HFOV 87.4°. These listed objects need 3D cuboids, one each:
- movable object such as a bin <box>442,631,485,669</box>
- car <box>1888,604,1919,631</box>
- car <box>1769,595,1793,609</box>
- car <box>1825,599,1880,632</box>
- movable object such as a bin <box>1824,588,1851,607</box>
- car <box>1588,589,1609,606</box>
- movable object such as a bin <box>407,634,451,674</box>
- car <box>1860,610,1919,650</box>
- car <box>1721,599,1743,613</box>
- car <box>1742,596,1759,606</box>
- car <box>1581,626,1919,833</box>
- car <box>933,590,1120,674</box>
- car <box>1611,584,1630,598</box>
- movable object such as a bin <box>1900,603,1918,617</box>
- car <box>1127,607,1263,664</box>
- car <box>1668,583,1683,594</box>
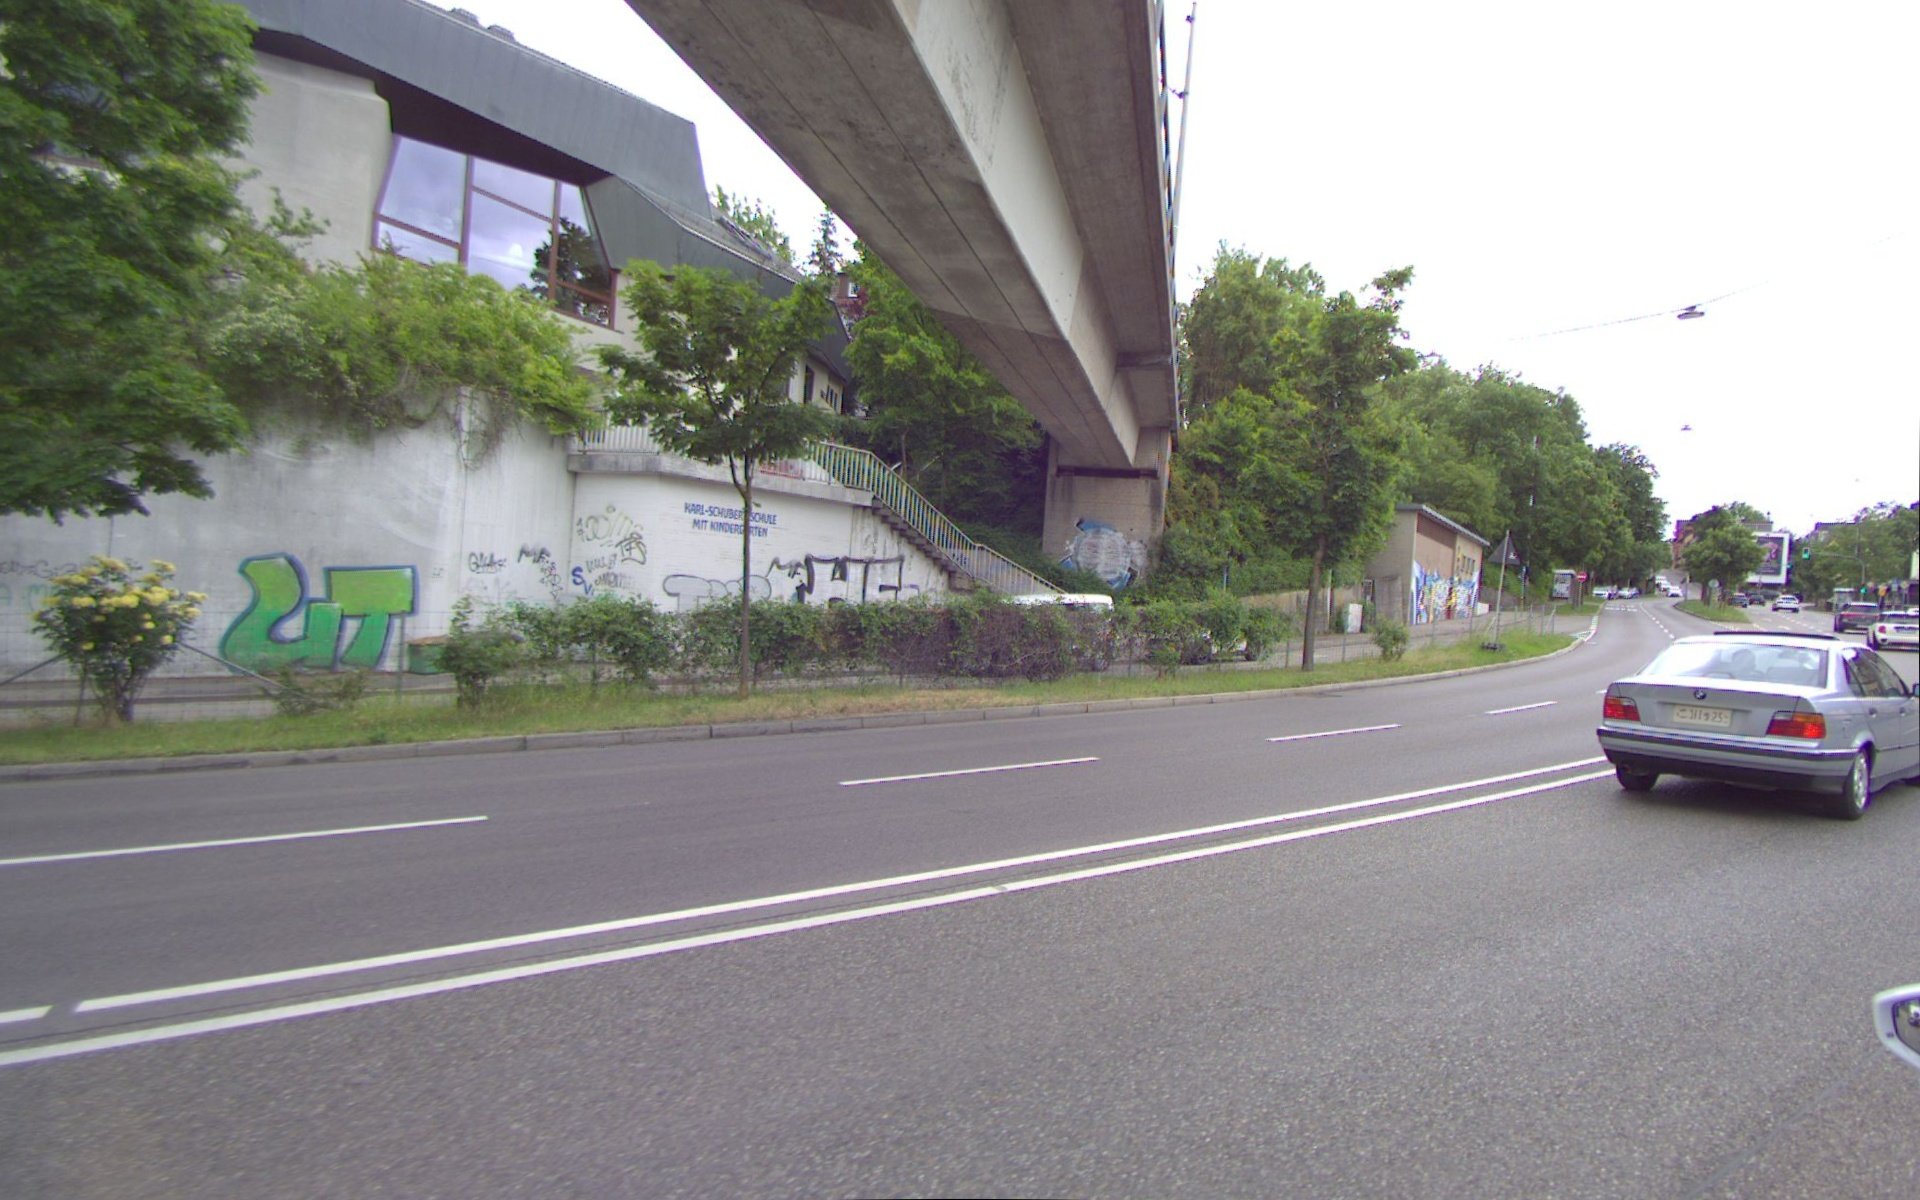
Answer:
[{"bbox_3d":[-9.557,0.954,19.319,0.551,0.649,0.578,6,6,40],"label":"movable object such as a bin"},{"bbox_3d":[51.943,0.945,54.460,1.698,1.394,3.449,1,1,31],"label":"car"},{"bbox_3d":[83.917,0.169,102.682,1.700,1.394,3.444,1,1,36],"label":"car"},{"bbox_3d":[47.382,0.781,53.404,1.699,1.662,3.446,1,1,34],"label":"car"},{"bbox_3d":[99.790,-0.294,114.275,1.863,1.895,1.526,6,5,28],"label":"movable object such as a bin"},{"bbox_3d":[74.013,-0.293,116.406,1.835,1.693,4.265,6,5,34],"label":"car"},{"bbox_3d":[-9.943,1.001,18.814,0.551,0.649,0.578,6,6,40],"label":"movable object such as a bin"},{"bbox_3d":[34.679,1.082,37.230,1.701,1.394,3.442,1,1,38],"label":"car"},{"bbox_3d":[87.633,0.656,114.062,1.699,1.604,3.446,1,1,34],"label":"car"},{"bbox_3d":[109.852,0.164,139.647,1.700,1.394,3.444,1,1,36],"label":"car"},{"bbox_3d":[7.426,0.964,9.009,4.577,1.401,1.623,1,-1,-37],"label":"car"},{"bbox_3d":[1.634,0.714,23.594,4.428,1.809,1.752,1,-1,-40],"label":"car"},{"bbox_3d":[87.960,-1.254,133.724,1.835,1.615,4.265,6,5,34],"label":"car"},{"bbox_3d":[102.591,1.082,108.615,1.180,1.427,0.708,6,5,37],"label":"movable object such as a bin"},{"bbox_3d":[6.540,0.928,27.806,3.772,1.438,1.752,1,0,-40],"label":"car"},{"bbox_3d":[119.188,-1.883,167.311,1.835,1.693,4.264,6,5,35],"label":"car"}]
